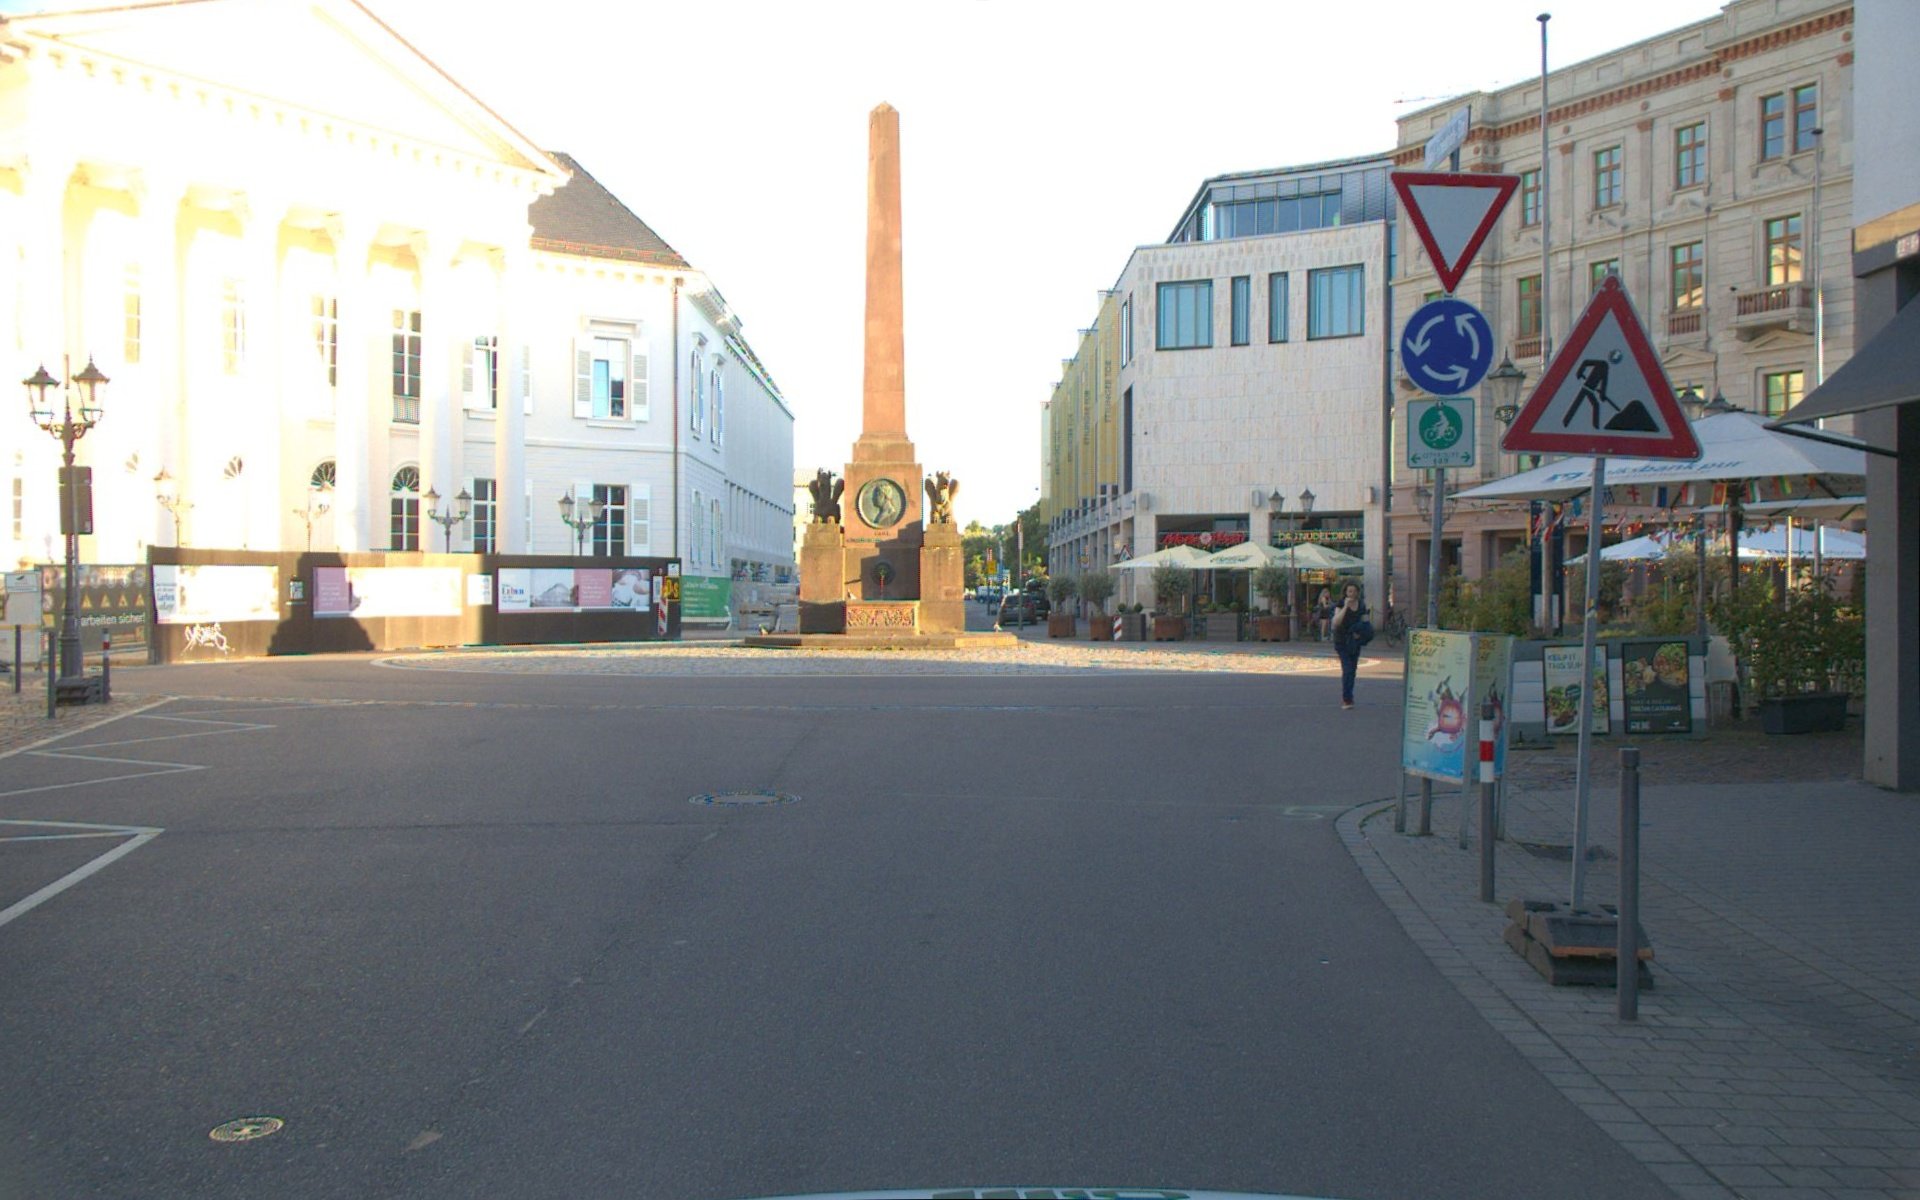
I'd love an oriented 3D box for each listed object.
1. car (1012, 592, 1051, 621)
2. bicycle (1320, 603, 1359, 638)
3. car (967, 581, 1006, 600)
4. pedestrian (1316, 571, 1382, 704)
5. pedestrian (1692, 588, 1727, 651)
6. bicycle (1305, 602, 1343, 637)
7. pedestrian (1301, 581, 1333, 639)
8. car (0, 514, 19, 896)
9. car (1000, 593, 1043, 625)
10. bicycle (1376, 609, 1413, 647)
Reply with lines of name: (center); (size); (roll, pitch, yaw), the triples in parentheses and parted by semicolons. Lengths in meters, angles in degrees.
car: (3.783, 0.333, 87.719); (1.952, 1.489, 4.001); (0, 0, 1)
bicycle: (11.730, 0.629, 51.060); (0.608, 1.049, 1.640); (0, 0, 35)
car: (2.895, -1.041, 180.466); (3.921, 2.049, 1.992); (0, 0, 37)
pedestrian: (4.971, 0.466, 21.156); (0.676, 1.676, 0.695); (0, 0, -1)
pedestrian: (18.320, 0.471, 40.435); (0.575, 1.504, 0.684); (0, 0, 3)
bicycle: (11.349, 0.601, 51.603); (0.589, 1.049, 1.640); (0, 0, 35)
pedestrian: (10.837, 0.297, 50.214); (0.885, 1.759, 0.850); (0, 0, 8)
car: (-5.341, 0.525, 5.698); (1.956, 1.847, 4.776); (0, 0, -7)
car: (2.920, 0.421, 79.240); (1.952, 1.489, 4.001); (0, 0, 1)
bicycle: (12.483, 0.782, 47.498); (0.498, 1.049, 1.640); (0, 0, 35)
